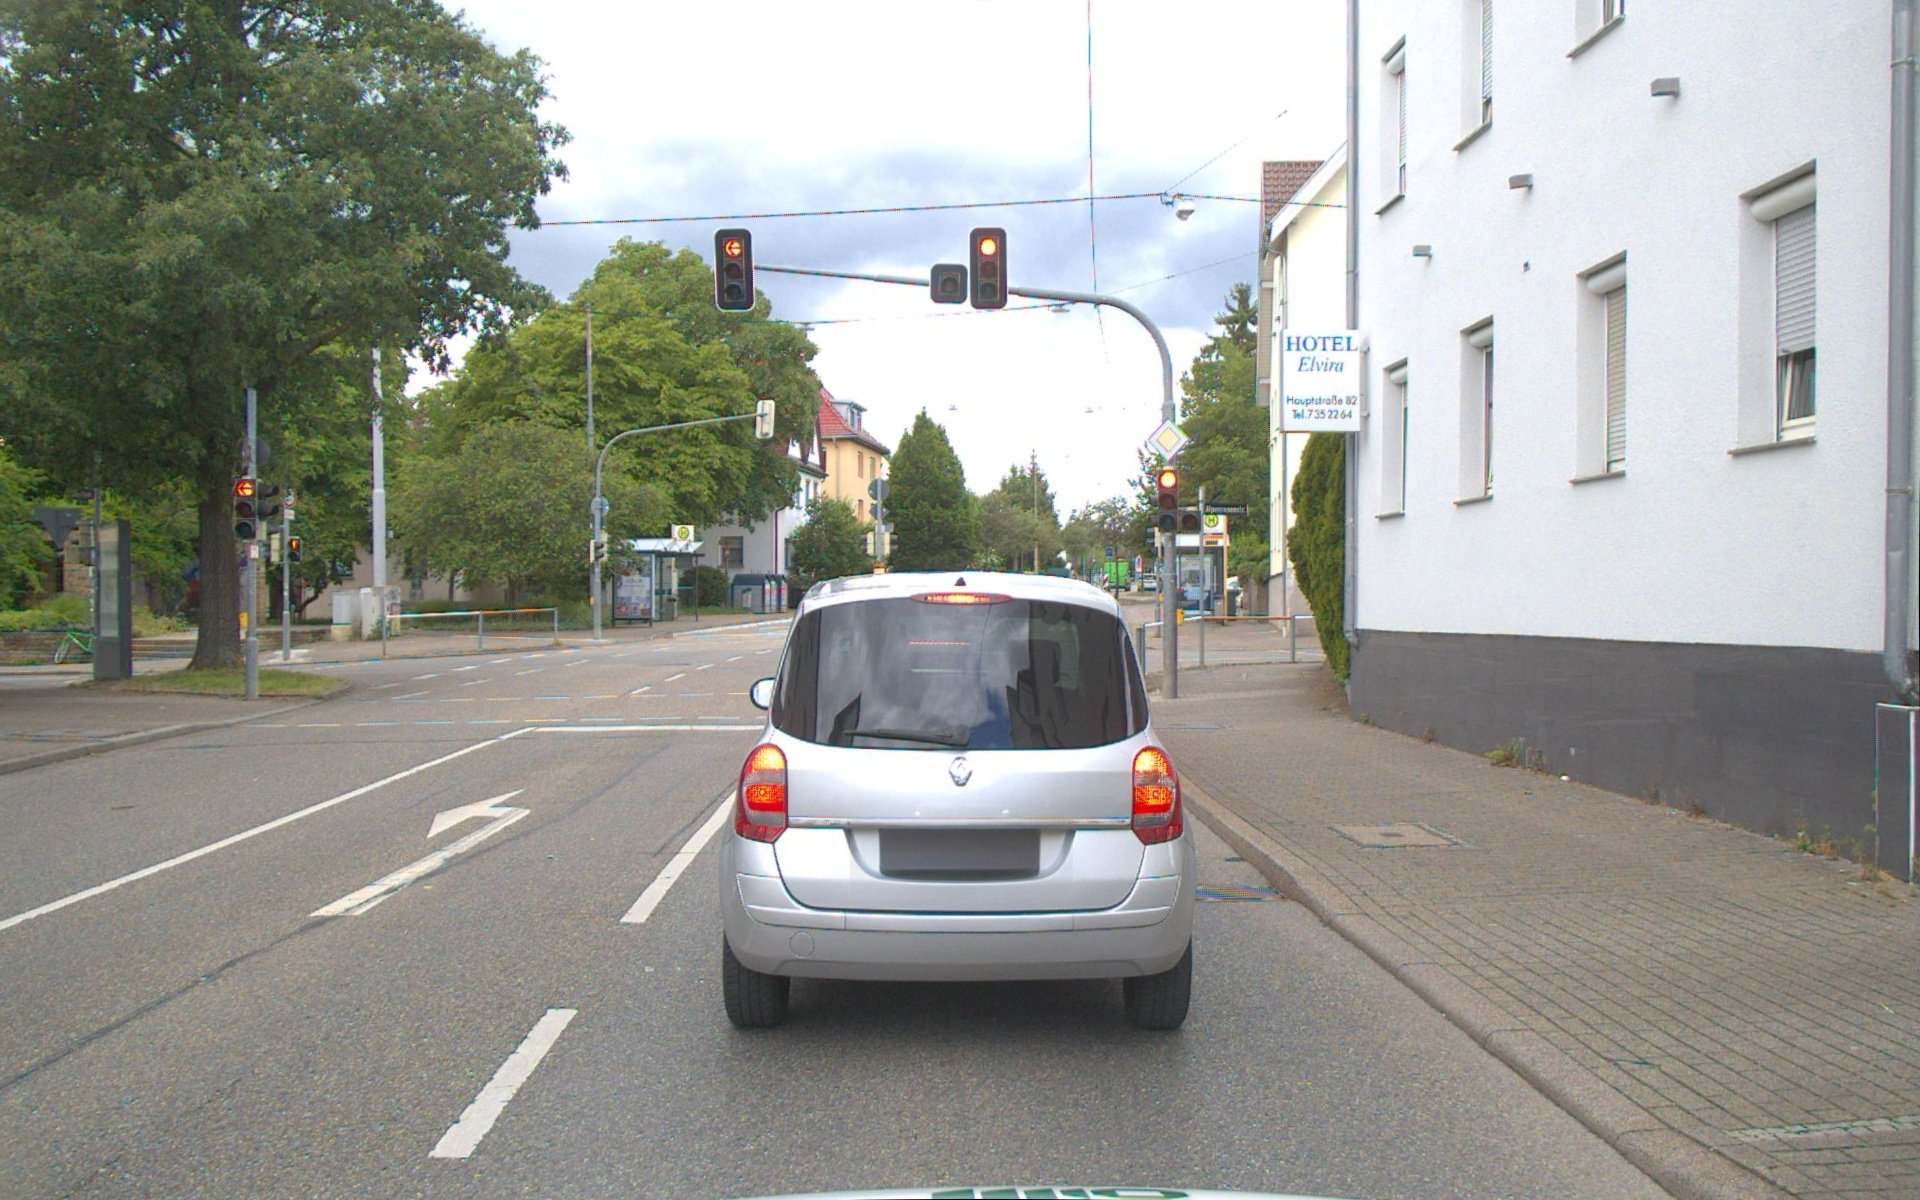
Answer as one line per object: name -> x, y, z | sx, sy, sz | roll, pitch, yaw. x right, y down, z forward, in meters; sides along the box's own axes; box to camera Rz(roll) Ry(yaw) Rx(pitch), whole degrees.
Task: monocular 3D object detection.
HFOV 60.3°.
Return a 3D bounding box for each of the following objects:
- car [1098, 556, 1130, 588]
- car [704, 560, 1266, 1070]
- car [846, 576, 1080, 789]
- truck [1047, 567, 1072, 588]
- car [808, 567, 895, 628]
car -> 12.662, -2.258, 135.682 | 2.015, 2.556, 5.600 | 1, 0, 11
car -> 0.041, 0.662, 7.097 | 1.719, 1.557, 3.999 | 1, 0, -1
car -> -0.015, 0.610, 14.161 | 1.719, 1.557, 3.796 | 1, 0, -1
truck -> 10.081, -2.287, 167.230 | 2.056, 2.049, 5.752 | 1, 0, 9
car -> -3.541, -0.102, 54.675 | 1.885, 1.804, 4.004 | -4, 0, 9
